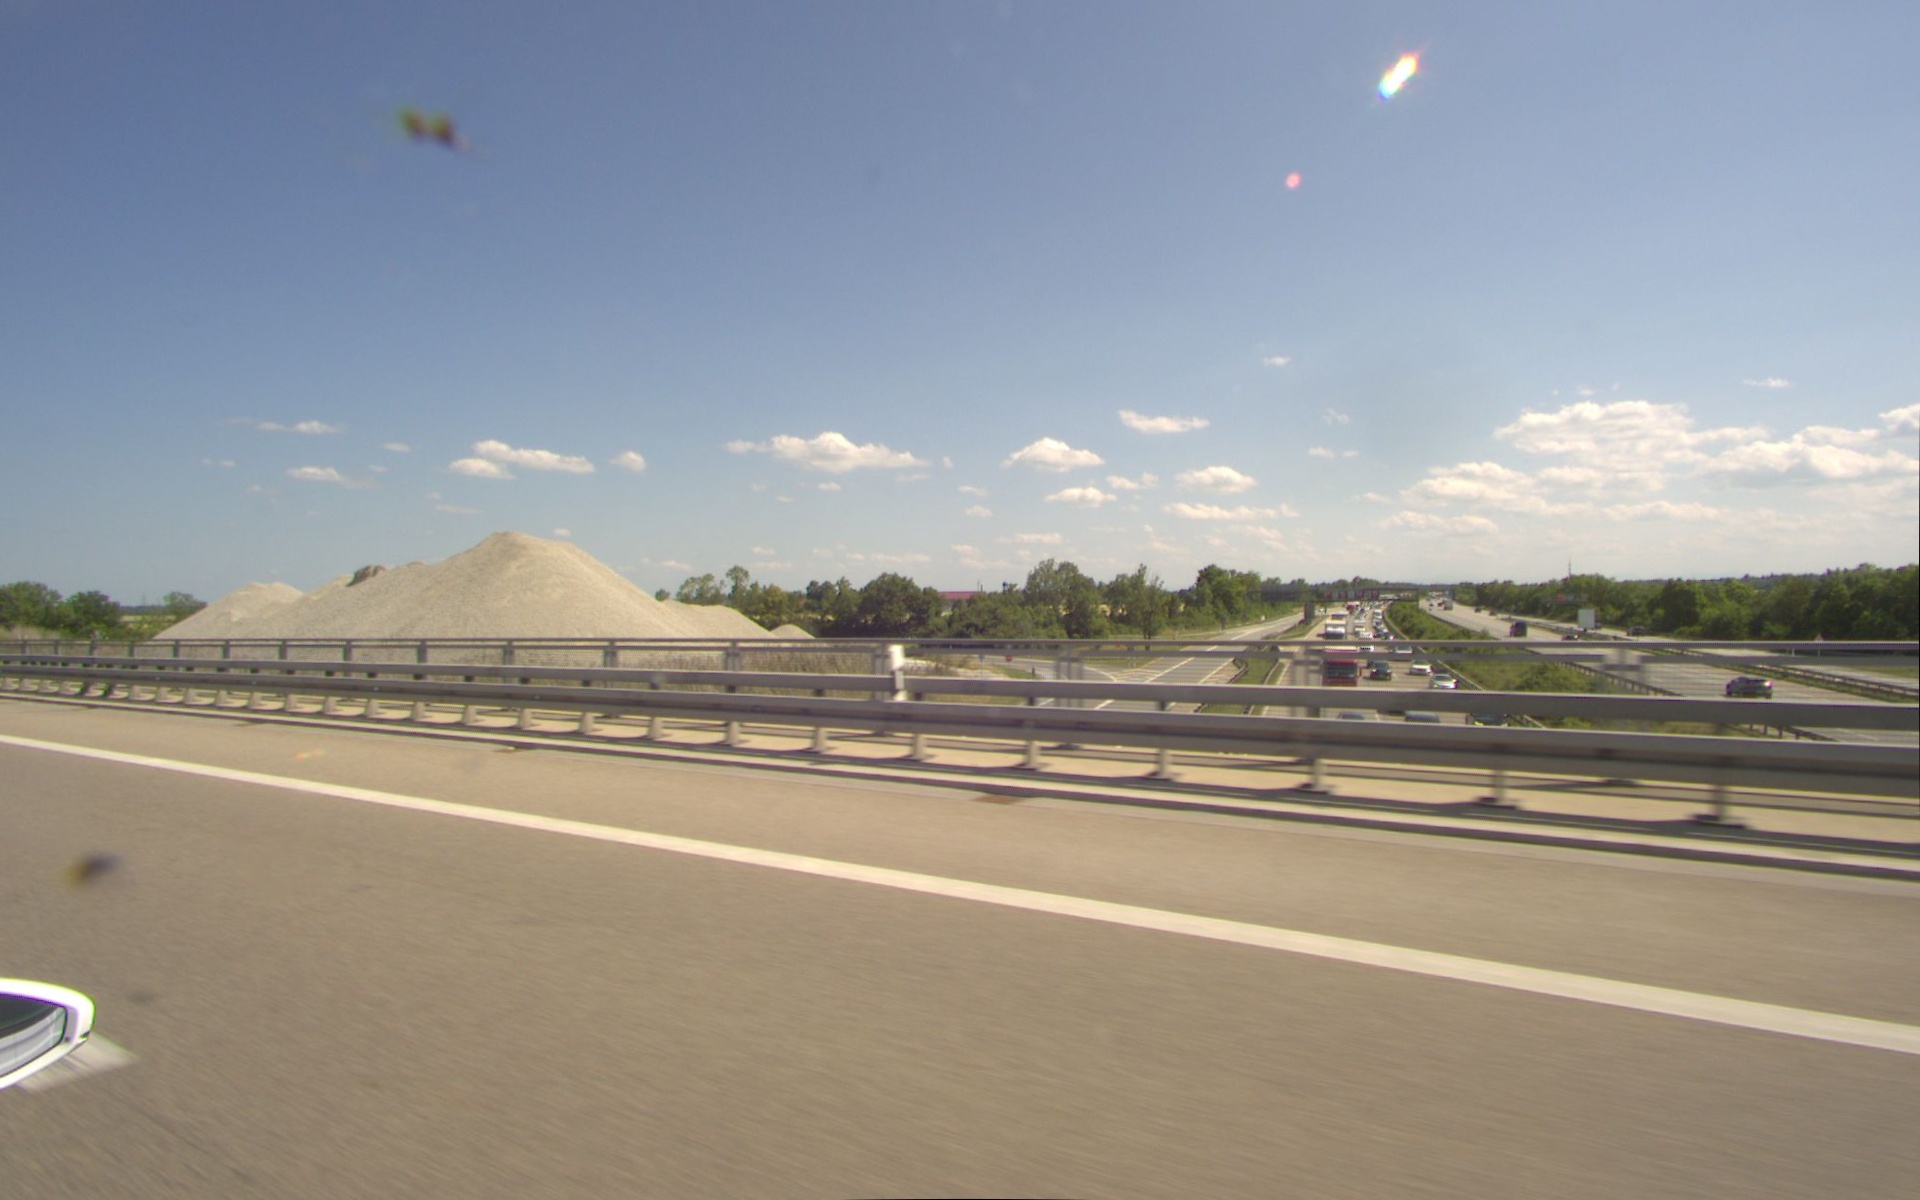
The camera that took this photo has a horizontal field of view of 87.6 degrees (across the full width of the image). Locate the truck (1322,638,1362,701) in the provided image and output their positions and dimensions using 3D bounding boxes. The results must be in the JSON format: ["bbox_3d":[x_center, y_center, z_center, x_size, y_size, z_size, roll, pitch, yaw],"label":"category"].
[{"bbox_3d":[31.012,5.434,81.293,2.820,4.119,12.544,0,1,21],"label":"truck"}]

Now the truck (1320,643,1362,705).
[{"bbox_3d":[28.620,5.450,75.215,2.820,4.119,5.941,0,1,21],"label":"truck"}]

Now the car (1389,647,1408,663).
[{"bbox_3d":[53.133,6.661,121.393,1.828,1.757,4.338,0,-1,19],"label":"car"}]

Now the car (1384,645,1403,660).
[{"bbox_3d":[55.582,6.670,128.498,1.828,1.757,4.338,0,-1,19],"label":"car"}]

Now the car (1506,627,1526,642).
[{"bbox_3d":[96.783,5.933,174.331,2.101,2.479,5.041,0,-1,18],"label":"car"}]

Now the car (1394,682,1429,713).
[{"bbox_3d":[31.441,6.754,69.772,1.828,1.757,4.338,0,-1,19],"label":"car"}]

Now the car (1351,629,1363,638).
[{"bbox_3d":[74.922,6.327,189.082,1.965,1.631,4.688,0,-1,19],"label":"car"}]

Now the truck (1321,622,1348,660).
[{"bbox_3d":[49.142,5.324,131.612,3.096,4.837,8.228,0,-1,19],"label":"truck"}]

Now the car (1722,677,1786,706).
[{"bbox_3d":[58.594,6.703,73.984,2.101,1.698,5.041,0,-1,18],"label":"car"}]

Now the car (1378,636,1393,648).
[{"bbox_3d":[70.145,6.885,165.128,1.828,1.757,4.338,0,-1,19],"label":"car"}]

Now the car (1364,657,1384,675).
[{"bbox_3d":[45.536,7.233,110.199,1.828,1.757,4.338,0,-1,19],"label":"car"}]

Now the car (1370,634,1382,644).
[{"bbox_3d":[74.475,6.960,179.297,1.828,1.757,4.338,0,-1,19],"label":"car"}]

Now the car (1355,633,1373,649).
[{"bbox_3d":[53.448,5.365,132.452,1.965,2.040,4.688,0,-1,19],"label":"car"}]

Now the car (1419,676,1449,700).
[{"bbox_3d":[40.529,7.502,85.682,1.828,1.757,4.338,0,-1,19],"label":"car"}]

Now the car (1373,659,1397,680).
[{"bbox_3d":[40.915,6.669,96.439,1.828,1.757,4.338,0,-1,19],"label":"car"}]
